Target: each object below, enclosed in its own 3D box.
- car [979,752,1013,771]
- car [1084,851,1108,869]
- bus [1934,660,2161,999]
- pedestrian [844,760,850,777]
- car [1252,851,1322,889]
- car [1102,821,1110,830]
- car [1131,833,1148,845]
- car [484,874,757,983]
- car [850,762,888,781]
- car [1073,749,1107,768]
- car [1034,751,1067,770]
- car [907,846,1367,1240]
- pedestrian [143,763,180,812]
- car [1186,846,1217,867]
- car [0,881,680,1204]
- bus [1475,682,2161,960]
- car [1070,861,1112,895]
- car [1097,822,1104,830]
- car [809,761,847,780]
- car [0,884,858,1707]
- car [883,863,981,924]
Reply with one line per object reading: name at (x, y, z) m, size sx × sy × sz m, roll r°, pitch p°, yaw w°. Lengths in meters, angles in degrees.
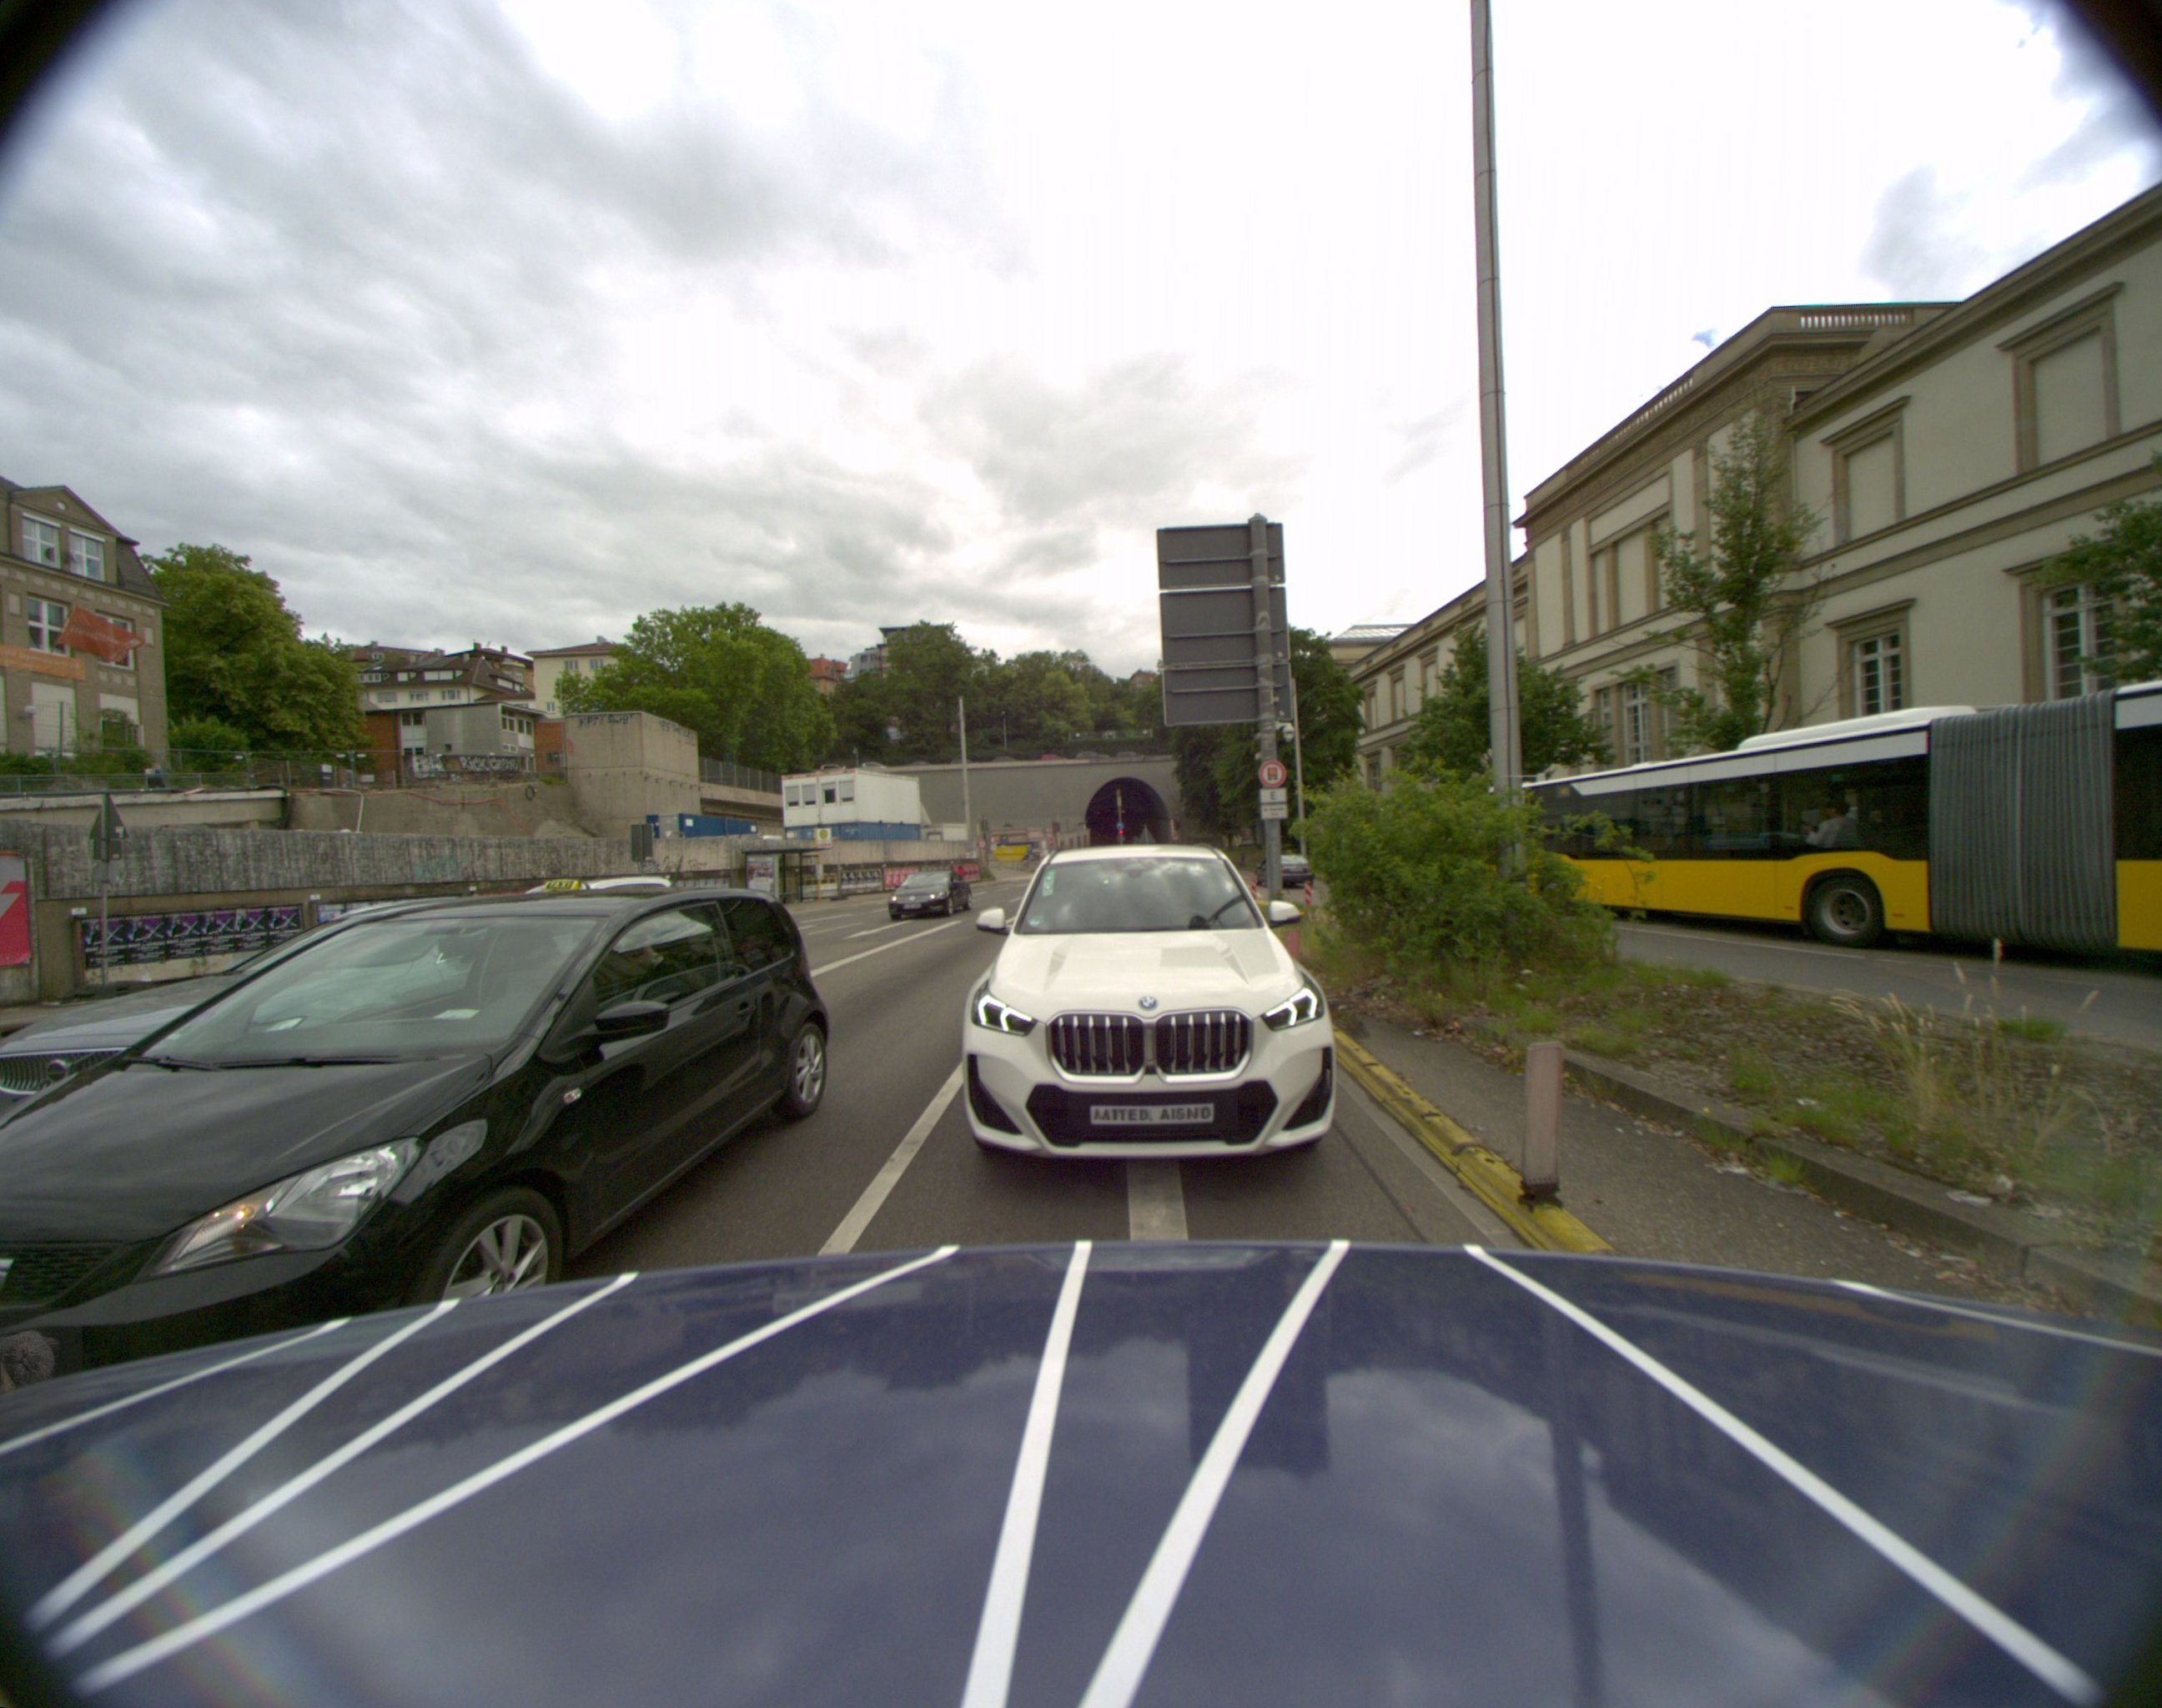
car at (-10.489, -11.411, 94.010) m, size 3.998 × 2.002 × 1.999 m, roll -2°, pitch 1°, yaw -2°
car at (1.310, 0.478, 66.123) m, size 1.730 × 1.435 × 4.001 m, roll -3°, pitch 0°, yaw 5°
bus at (11.312, -0.278, 4.186) m, size 2.853 × 3.096 × 9.121 m, roll -3°, pitch 0°, yaw 0°
pedestrian at (-29.743, -10.872, 96.619) m, size 0.581 × 2.002 × 0.577 m, roll -2°, pitch 1°, yaw -3°
car at (8.925, 0.658, 33.292) m, size 1.705 × 1.463 × 4.629 m, roll -3°, pitch 0°, yaw -1°
car at (5.358, -6.079, 161.822) m, size 1.667 × 1.582 × 3.882 m, roll -1°, pitch 0°, yaw 2°
car at (7.705, -2.013, 100.679) m, size 1.711 × 1.505 × 4.287 m, roll 0°, pitch 0°, yaw -3°
car at (-8.489, 1.280, 14.613) m, size 1.703 × 1.550 × 4.555 m, roll -3°, pitch 0°, yaw 13°
car at (-26.020, -10.083, 93.374) m, size 3.998 × 2.002 × 1.999 m, roll -2°, pitch 1°, yaw -5°
car at (1.096, -11.838, 94.490) m, size 3.998 × 2.002 × 1.999 m, roll -2°, pitch 1°, yaw -2°
car at (-3.783, -11.659, 94.405) m, size 3.998 × 2.002 × 1.999 m, roll -2°, pitch 1°, yaw -2°
car at (0.296, 0.796, 5.126) m, size 1.848 × 1.581 × 3.882 m, roll -3°, pitch 0°, yaw 2°
pedestrian at (-39.615, -2.857, 32.750) m, size 0.646 × 2.002 × 0.666 m, roll -2°, pitch 1°, yaw -3°
car at (9.346, 0.181, 59.359) m, size 1.701 × 1.580 × 3.882 m, roll -3°, pitch 0°, yaw -1°
car at (-5.753, 1.162, 6.586) m, size 1.826 × 1.562 × 4.654 m, roll -3°, pitch 0°, yaw 3°
bus at (11.176, -0.394, 13.673) m, size 2.853 × 3.096 × 9.747 m, roll -3°, pitch 0°, yaw -1°
car at (0.456, 1.049, 34.087) m, size 1.728 × 1.310 × 4.000 m, roll -3°, pitch 0°, yaw 1°
car at (4.861, -6.867, 186.357) m, size 1.667 × 1.582 × 3.882 m, roll -1°, pitch 0°, yaw 2°
car at (-31.069, -10.270, 93.310) m, size 3.998 × 2.002 × 1.999 m, roll -2°, pitch 1°, yaw -5°
car at (-2.504, 1.001, 3.415) m, size 1.667 × 1.487 × 3.882 m, roll -3°, pitch 0°, yaw 2°
car at (-4.520, 1.152, 23.810) m, size 1.704 × 1.550 × 4.552 m, roll -3°, pitch 0°, yaw 5°
